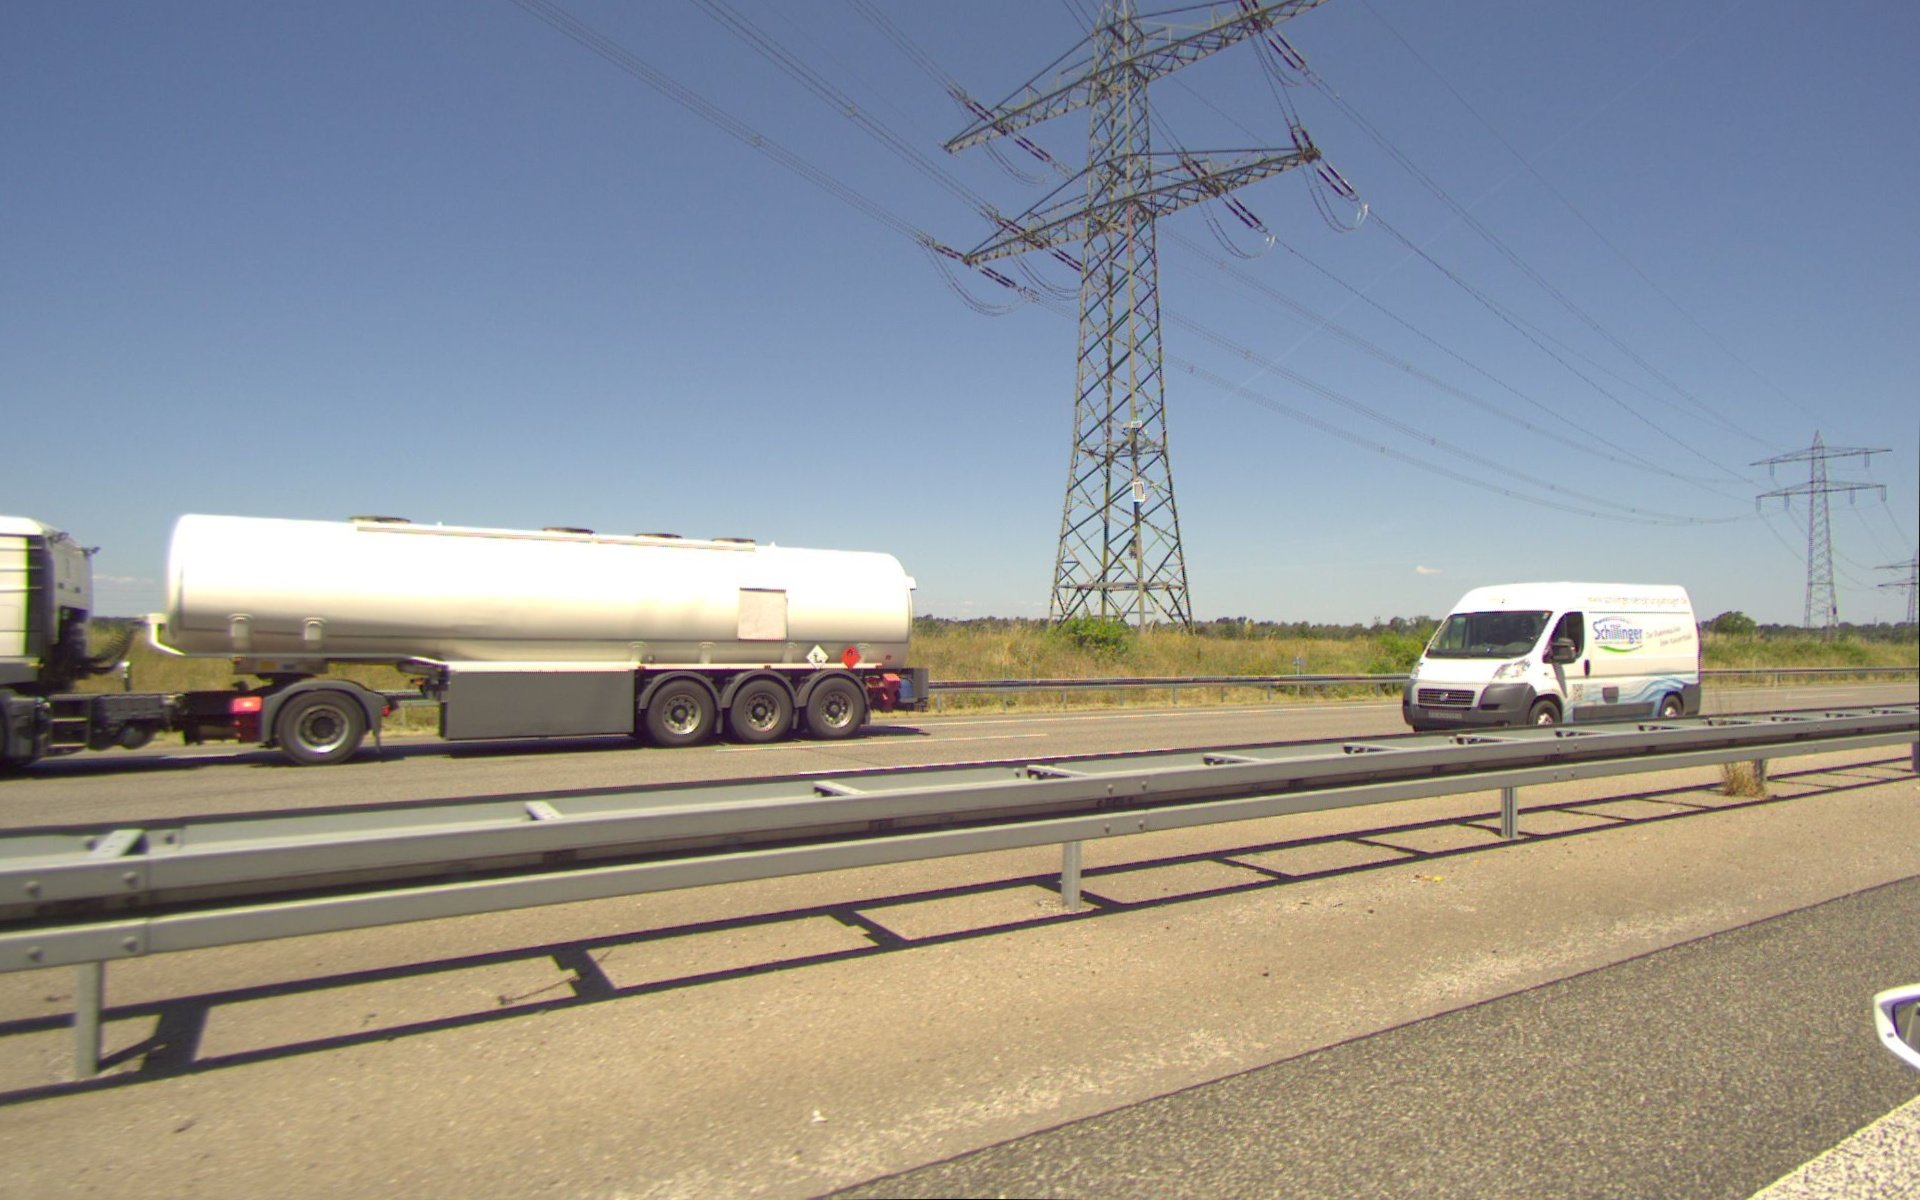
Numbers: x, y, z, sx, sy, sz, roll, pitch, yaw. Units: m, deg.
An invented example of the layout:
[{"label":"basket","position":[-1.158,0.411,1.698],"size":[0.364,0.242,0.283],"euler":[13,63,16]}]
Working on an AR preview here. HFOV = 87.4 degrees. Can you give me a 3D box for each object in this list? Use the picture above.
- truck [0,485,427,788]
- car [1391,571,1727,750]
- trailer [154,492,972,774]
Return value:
[{"label":"truck","position":[-10.464,0.484,13.061],"size":[6.138,3.422,2.472],"euler":[2,-3,-30]},{"label":"car","position":[9.783,0.948,16.247],"size":[5.957,2.469,1.985],"euler":[2,-3,-30]},{"label":"trailer","position":[-5.334,0.576,16.061],"size":[11.424,3.416,2.406],"euler":[2,-3,-30]}]
